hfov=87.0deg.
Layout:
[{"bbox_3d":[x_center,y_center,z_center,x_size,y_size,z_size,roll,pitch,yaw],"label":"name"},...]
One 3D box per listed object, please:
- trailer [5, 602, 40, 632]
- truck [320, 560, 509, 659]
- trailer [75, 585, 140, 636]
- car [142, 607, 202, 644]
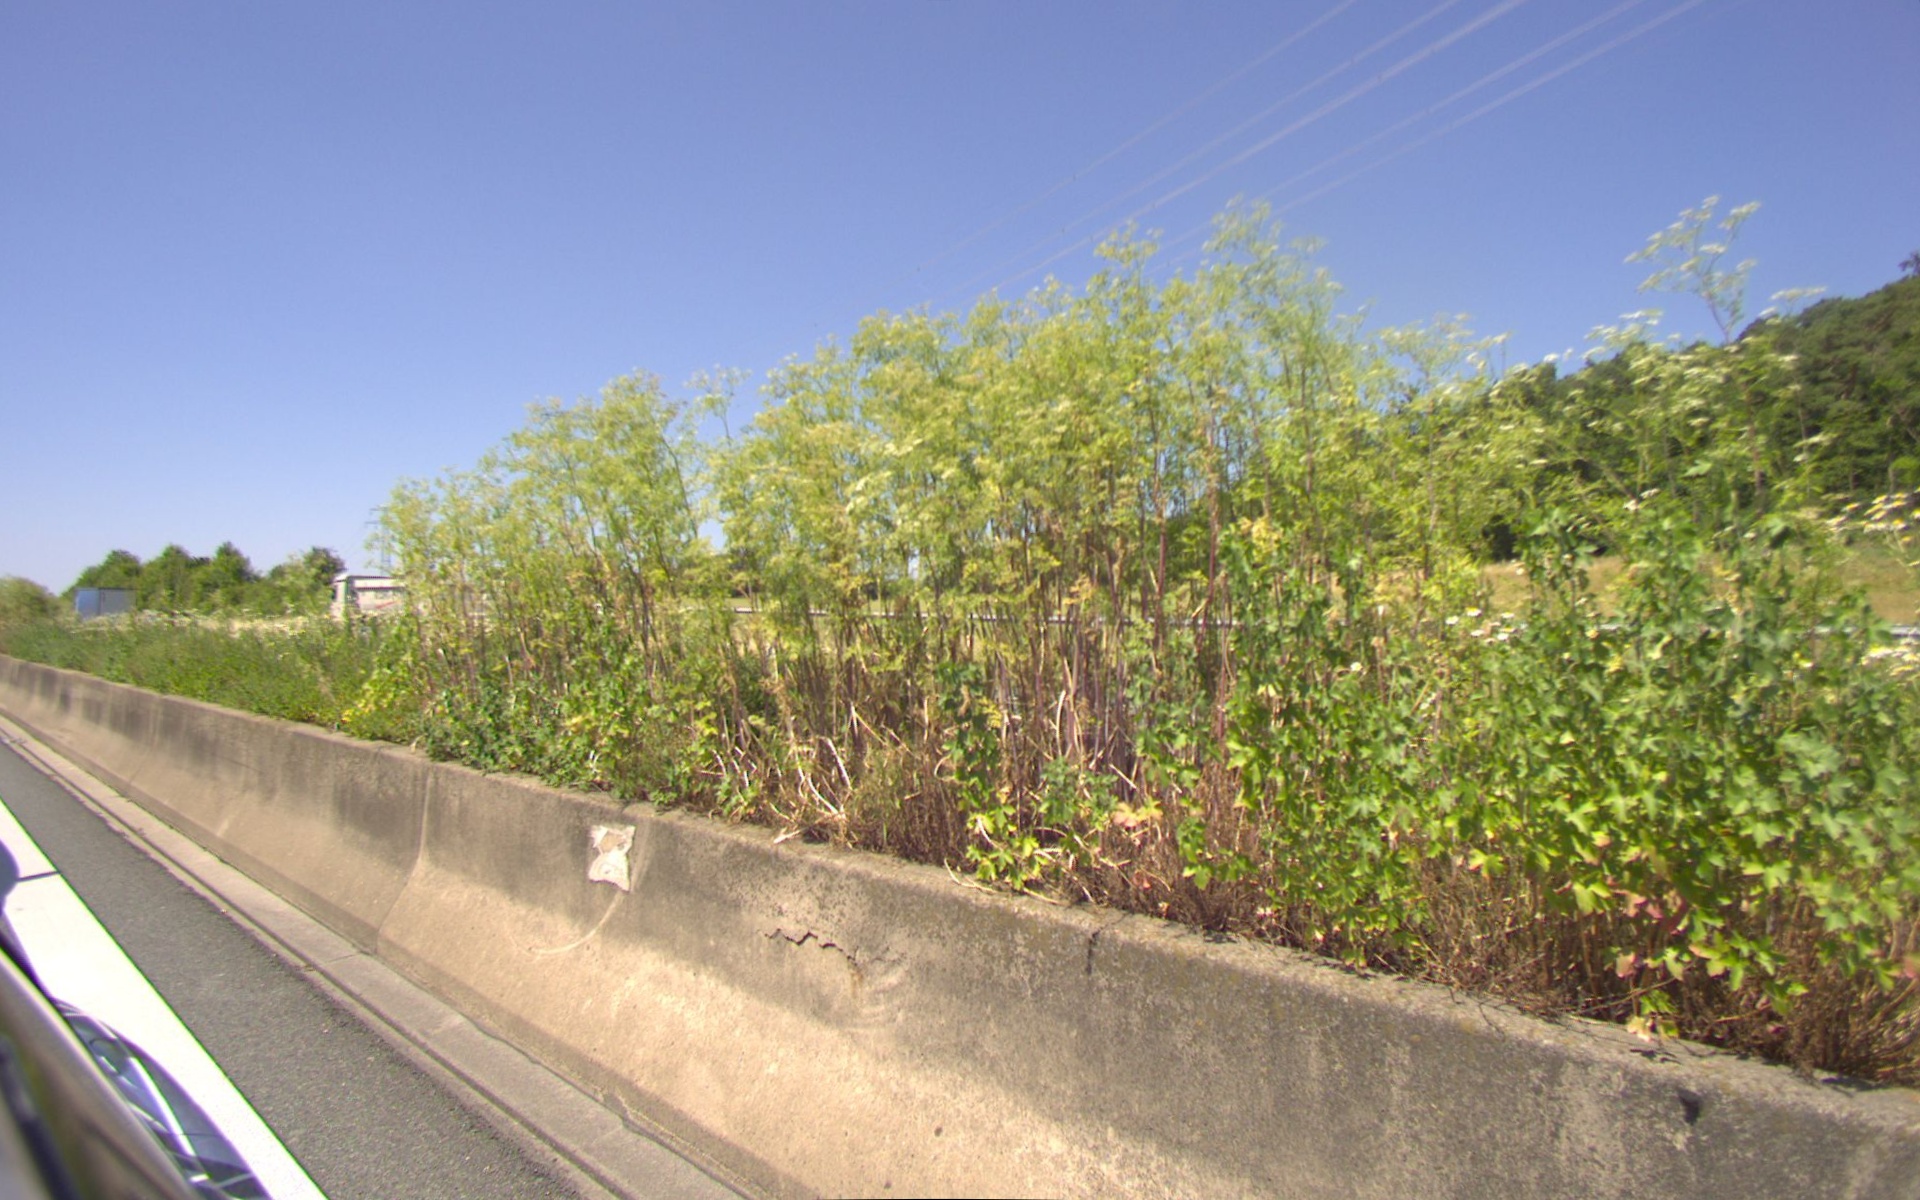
[{"bbox_3d":[-136.864,2.416,147.656,10.683,4.238,2.792,0,1,42],"label":"trailer"},{"bbox_3d":[-21.245,0.407,38.890,11.819,3.313,2.735,-1,-1,43],"label":"truck"},{"bbox_3d":[-74.599,0.910,88.466,10.980,4.260,2.979,-1,-1,43],"label":"trailer"},{"bbox_3d":[-39.014,1.247,50.078,4.024,1.801,1.588,-1,-1,41],"label":"car"}]
